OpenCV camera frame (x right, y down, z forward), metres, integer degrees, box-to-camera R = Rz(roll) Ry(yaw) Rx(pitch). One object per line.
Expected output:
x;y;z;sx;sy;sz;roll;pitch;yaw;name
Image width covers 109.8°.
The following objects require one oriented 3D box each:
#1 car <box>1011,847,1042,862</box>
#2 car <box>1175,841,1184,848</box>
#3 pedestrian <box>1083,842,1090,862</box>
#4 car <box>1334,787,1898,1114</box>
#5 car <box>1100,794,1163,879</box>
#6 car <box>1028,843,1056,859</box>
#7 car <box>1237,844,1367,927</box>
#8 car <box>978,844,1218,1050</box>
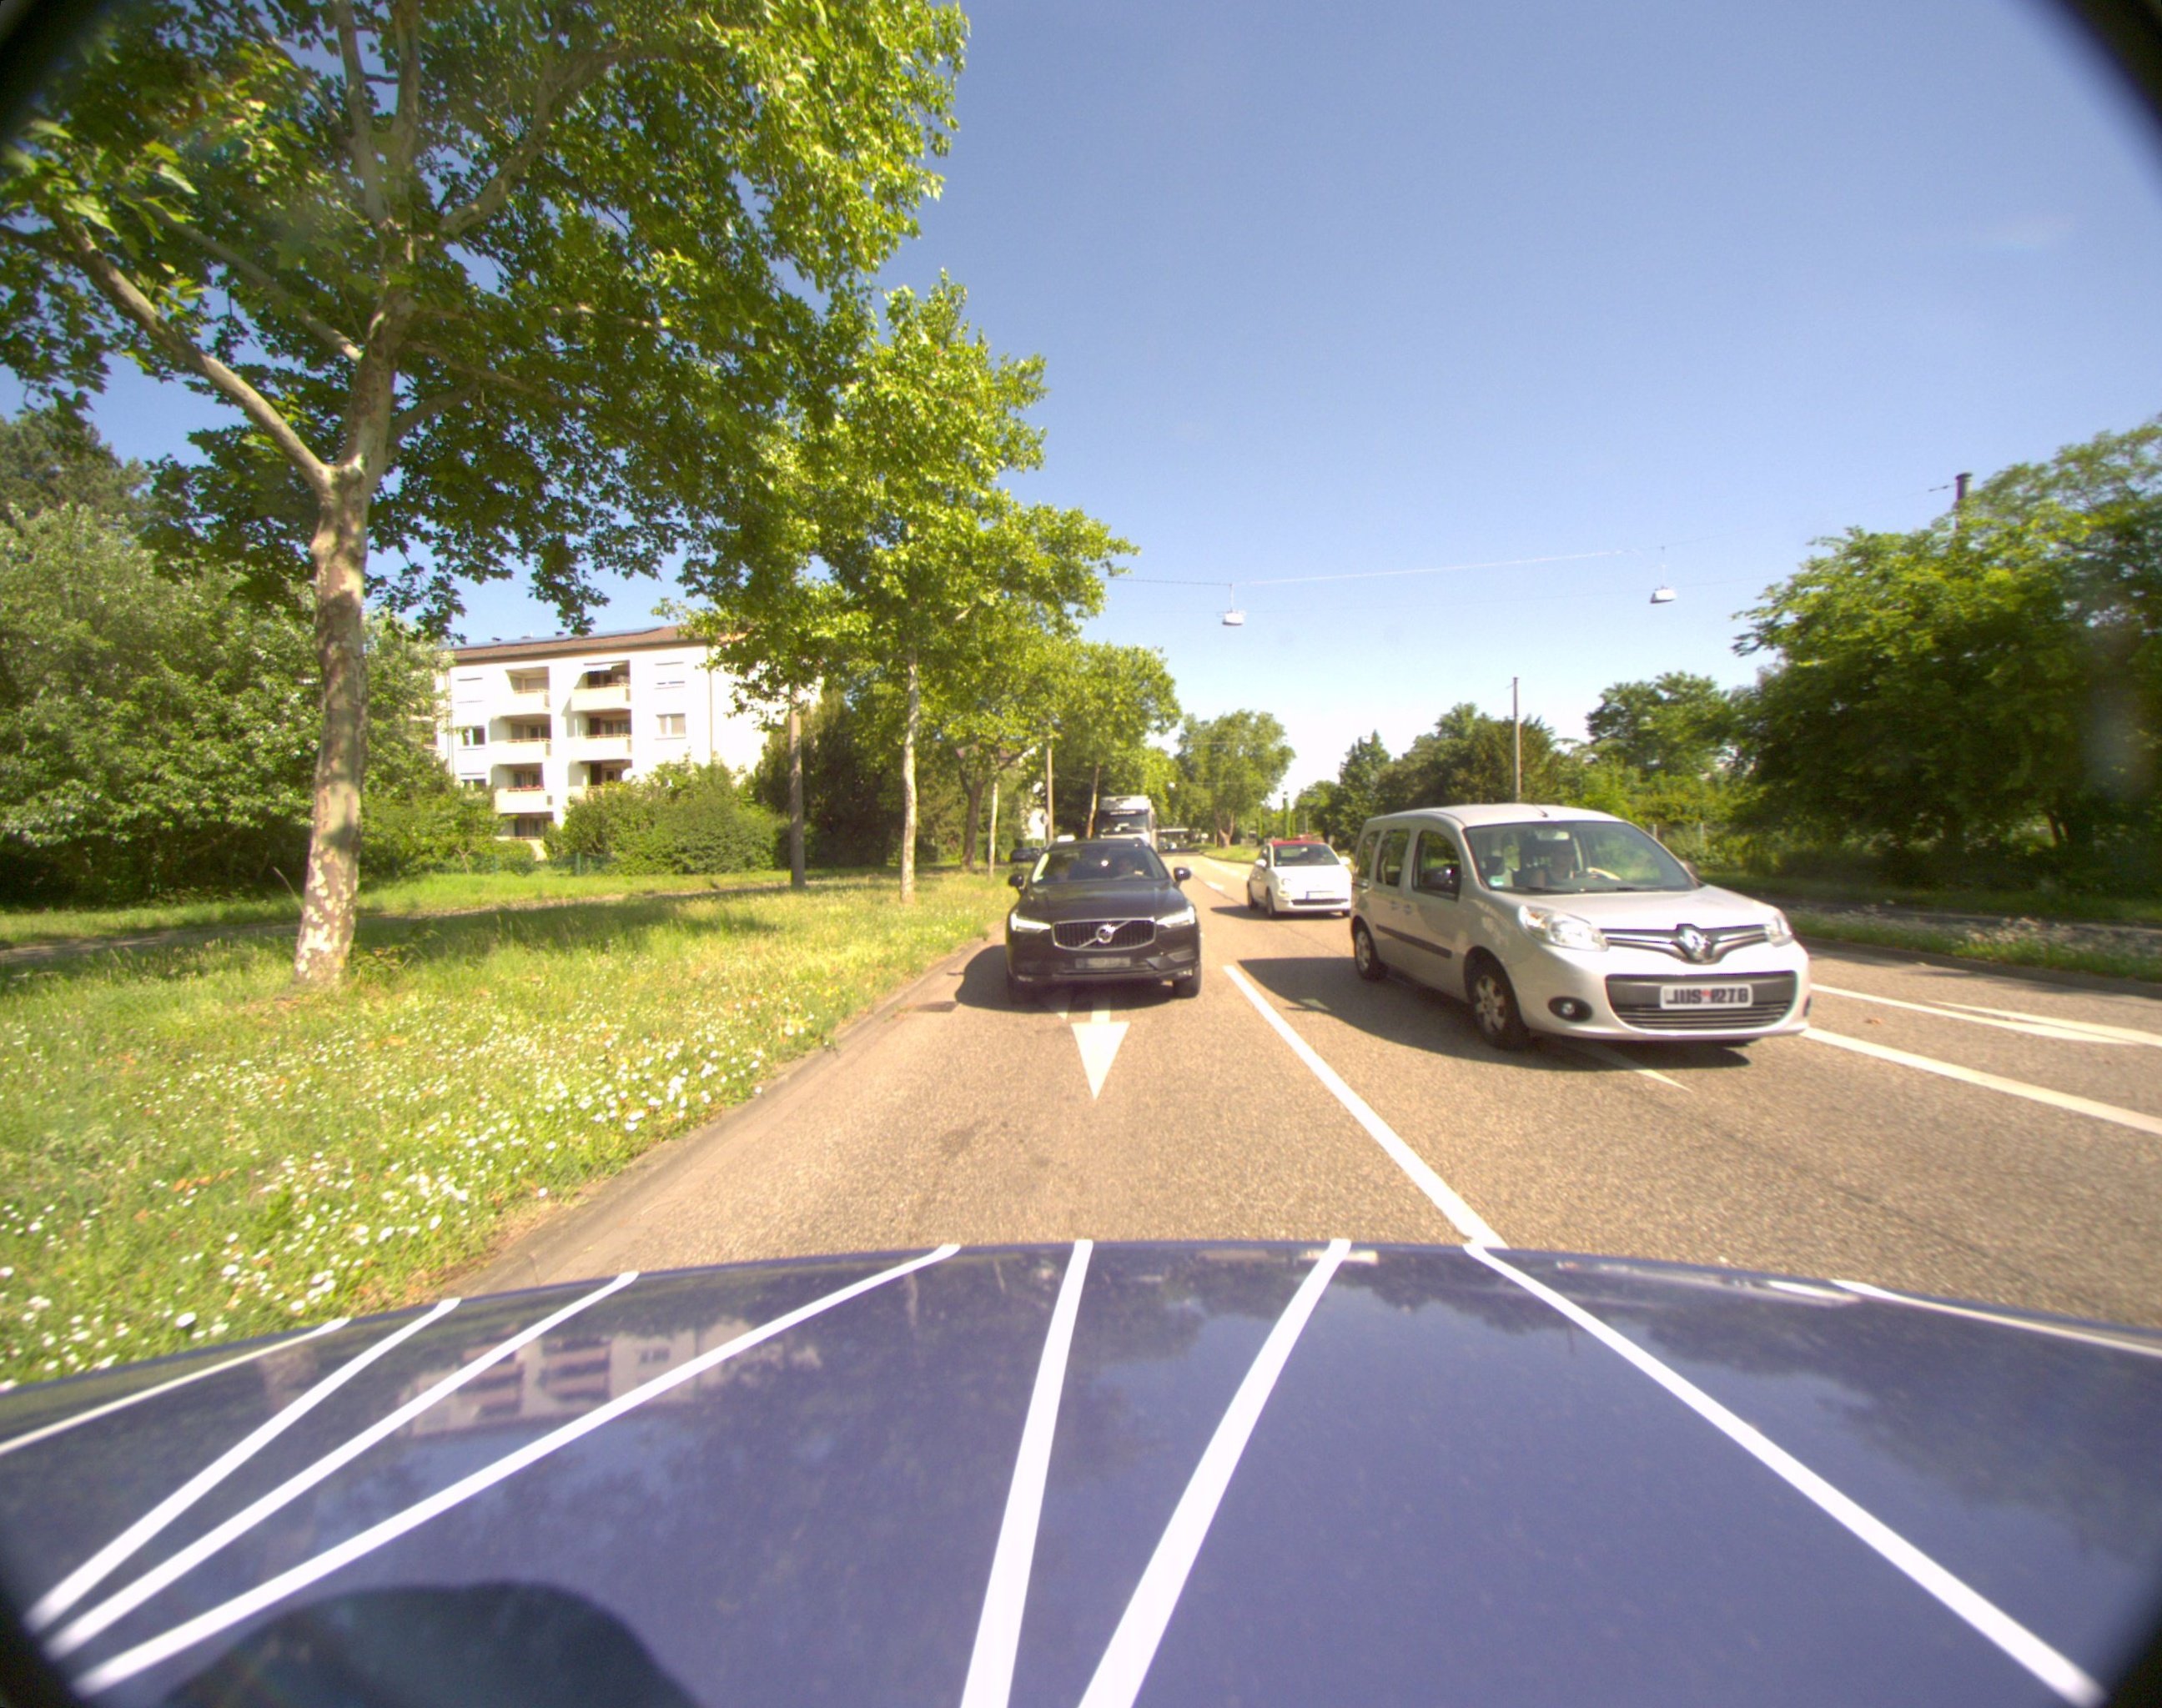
-5.158;0.015;72.730;1.504;1.364;4.094;0;1;18;car
27.184;-2.657;210.094;1.996;2.002;4.004;0;1;14;car
0.608;-0.193;78.286;0.639;2.002;0.480;0;2;11;pedestrian
3.754;0.526;6.497;1.876;1.829;4.375;-1;1;2;car
2.500;-0.852;38.486;2.902;3.898;7.141;0;1;3;car
-3.973;-0.327;78.127;1.504;1.633;4.094;0;1;18;car
4.447;0.550;15.943;1.689;1.482;4.376;-1;1;3;car
0.213;0.734;8.622;1.904;1.606;4.872;-2;1;2;car
